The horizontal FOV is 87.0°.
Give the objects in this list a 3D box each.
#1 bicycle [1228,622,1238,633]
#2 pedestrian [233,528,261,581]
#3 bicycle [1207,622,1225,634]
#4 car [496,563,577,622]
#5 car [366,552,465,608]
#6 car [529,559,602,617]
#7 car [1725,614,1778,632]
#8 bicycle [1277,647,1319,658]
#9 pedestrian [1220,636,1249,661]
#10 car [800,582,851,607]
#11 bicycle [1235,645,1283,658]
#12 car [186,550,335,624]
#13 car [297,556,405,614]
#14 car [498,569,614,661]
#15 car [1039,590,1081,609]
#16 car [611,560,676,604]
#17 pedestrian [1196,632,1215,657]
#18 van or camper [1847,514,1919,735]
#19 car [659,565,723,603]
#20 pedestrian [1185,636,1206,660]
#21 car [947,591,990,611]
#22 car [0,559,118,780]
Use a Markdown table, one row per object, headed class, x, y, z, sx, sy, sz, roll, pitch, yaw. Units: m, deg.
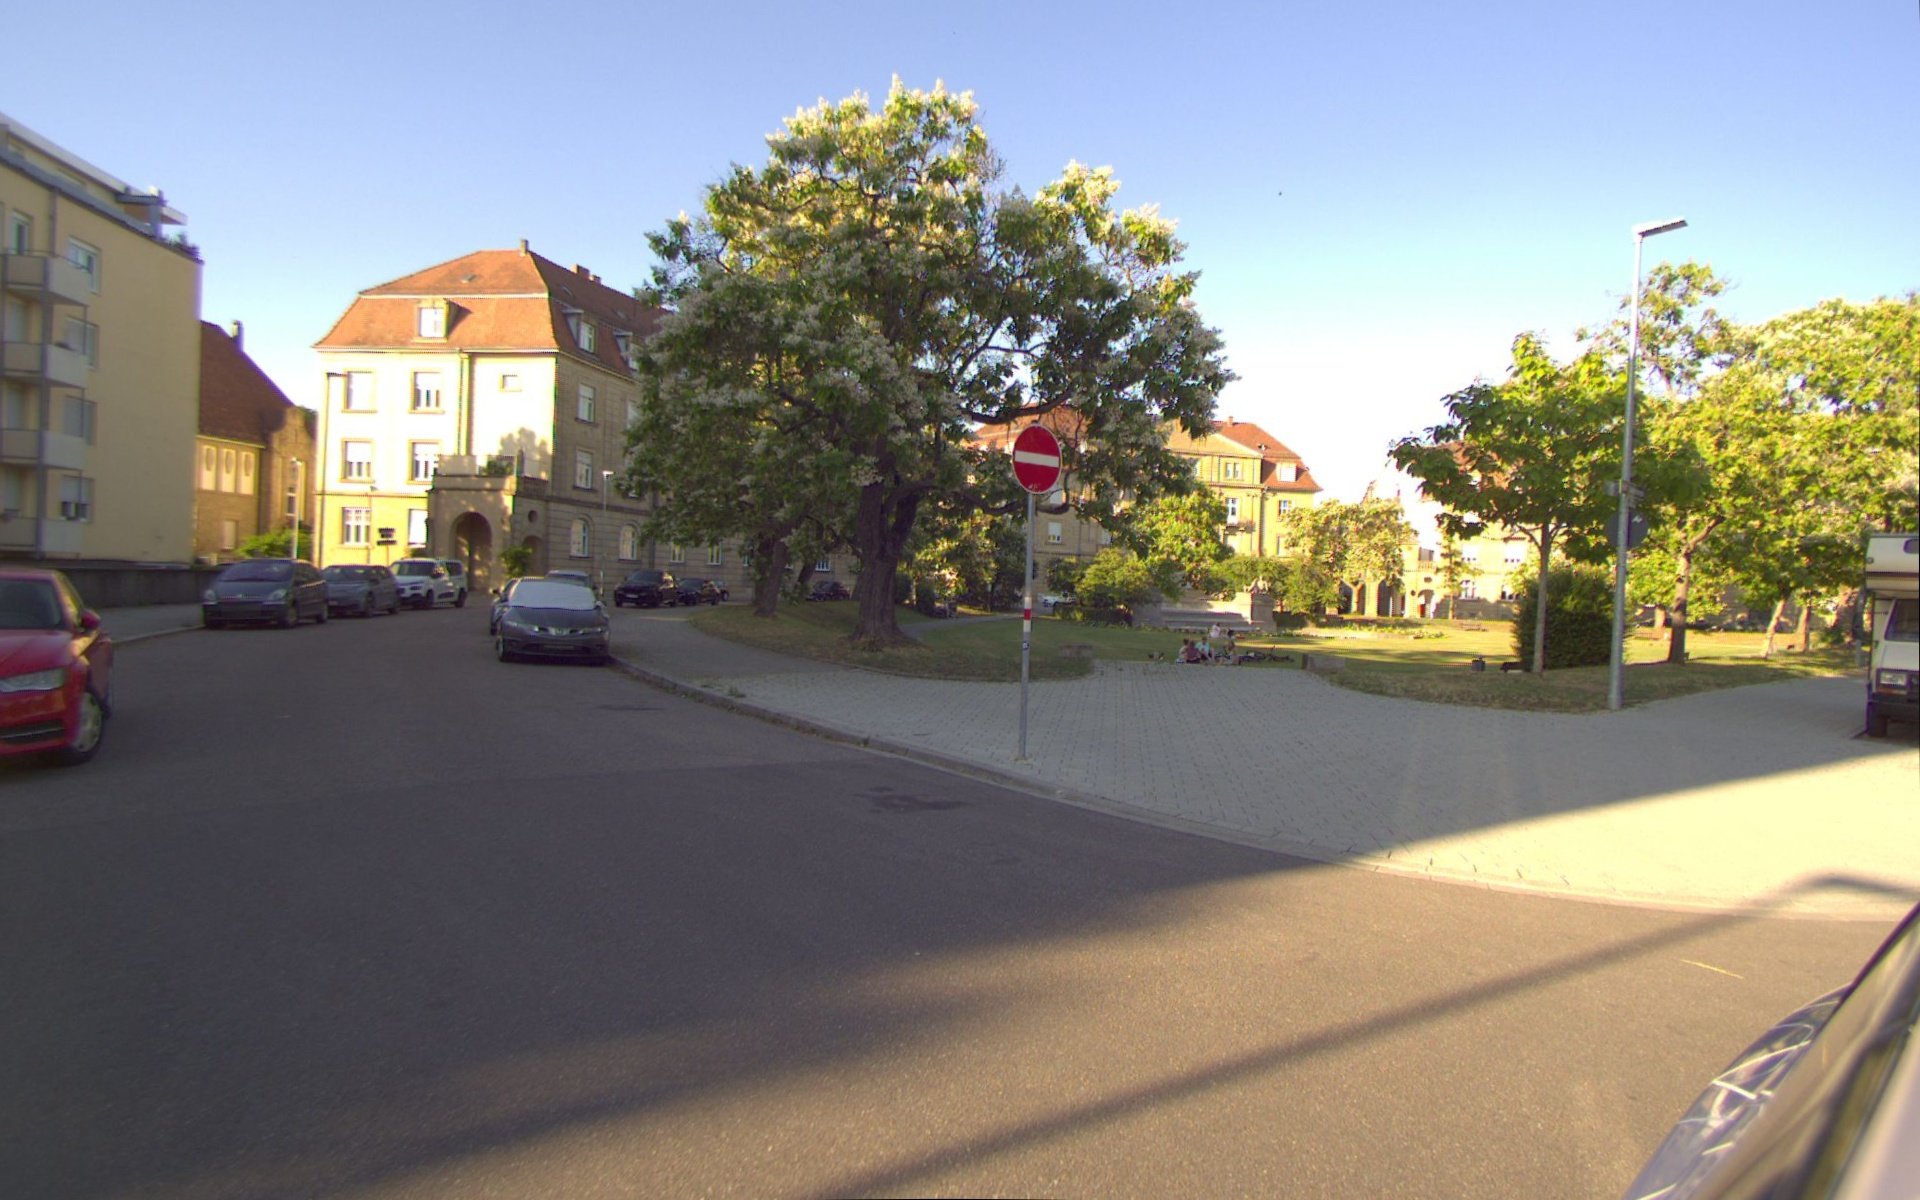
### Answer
| class | x | y | z | sx | sy | sz | roll | pitch | yaw |
| --- | --- | --- | --- | --- | --- | --- | --- | --- | --- |
| bicycle | 14.706 | 1.495 | 54.519 | 0.480 | 0.590 | 0.438 | 1 | 0 | 10 |
| pedestrian | -22.145 | -1.404 | 31.440 | 0.496 | 1.612 | 0.527 | 1 | -1 | -13 |
| bicycle | 13.822 | 1.510 | 54.625 | 0.891 | 0.660 | 0.438 | 1 | 0 | 10 |
| car | -10.603 | -0.183 | 25.502 | 1.690 | 1.313 | 3.712 | 3 | -1 | -21 |
| car | -19.219 | -0.684 | 35.889 | 1.672 | 1.818 | 4.052 | 1 | 0 | -7 |
| car | -12.466 | -0.363 | 32.197 | 1.690 | 1.648 | 3.712 | 3 | -1 | -15 |
| car | 74.092 | 2.141 | 94.826 | 3.674 | 1.518 | 1.707 | 1 | 0 | 31 |
| bicycle | 12.253 | 1.895 | 36.698 | 1.673 | 0.323 | 0.659 | 1 | 1 | -40 |
| pedestrian | 9.042 | 1.590 | 33.331 | 0.795 | 0.774 | 0.498 | 3 | 0 | -2 |
| car | -9.295 | -0.356 | 70.199 | 1.709 | 1.518 | 3.671 | 2 | -1 | 26 |
| bicycle | 10.557 | 1.816 | 35.713 | 1.897 | 0.387 | 0.659 | 1 | 1 | -40 |
| car | -16.311 | -0.337 | 23.823 | 1.671 | 1.596 | 4.056 | 0 | 1 | -16 |
| car | -17.803 | -0.463 | 29.784 | 1.671 | 1.596 | 4.056 | 0 | 1 | -15 |
| car | -7.423 | 0.236 | 18.376 | 1.690 | 1.445 | 4.007 | 3 | -1 | -25 |
| car | 9.273 | -0.062 | 93.719 | 3.633 | 1.518 | 1.726 | 3 | -1 | -35 |
| car | -14.138 | -0.773 | 45.415 | 1.693 | 1.779 | 3.704 | 3 | -1 | -1 |
| pedestrian | 8.620 | 1.550 | 35.525 | 0.488 | 0.845 | 0.455 | 1 | 0 | -9 |
| van or camper | 14.802 | 0.374 | 14.525 | 5.852 | 2.816 | 2.425 | 1 | 3 | -43 |
| car | -13.728 | -0.801 | 51.867 | 1.698 | 1.779 | 3.693 | 3 | -1 | 10 |
| pedestrian | 7.743 | 1.564 | 33.299 | 0.497 | 0.756 | 0.447 | 1 | 0 | 44 |
| car | 0.728 | 0.079 | 87.283 | 1.766 | 1.604 | 3.947 | 1 | 0 | 36 |
| car | -7.787 | 0.423 | 7.900 | 1.757 | 1.437 | 4.043 | -1 | 2 | -39 |
